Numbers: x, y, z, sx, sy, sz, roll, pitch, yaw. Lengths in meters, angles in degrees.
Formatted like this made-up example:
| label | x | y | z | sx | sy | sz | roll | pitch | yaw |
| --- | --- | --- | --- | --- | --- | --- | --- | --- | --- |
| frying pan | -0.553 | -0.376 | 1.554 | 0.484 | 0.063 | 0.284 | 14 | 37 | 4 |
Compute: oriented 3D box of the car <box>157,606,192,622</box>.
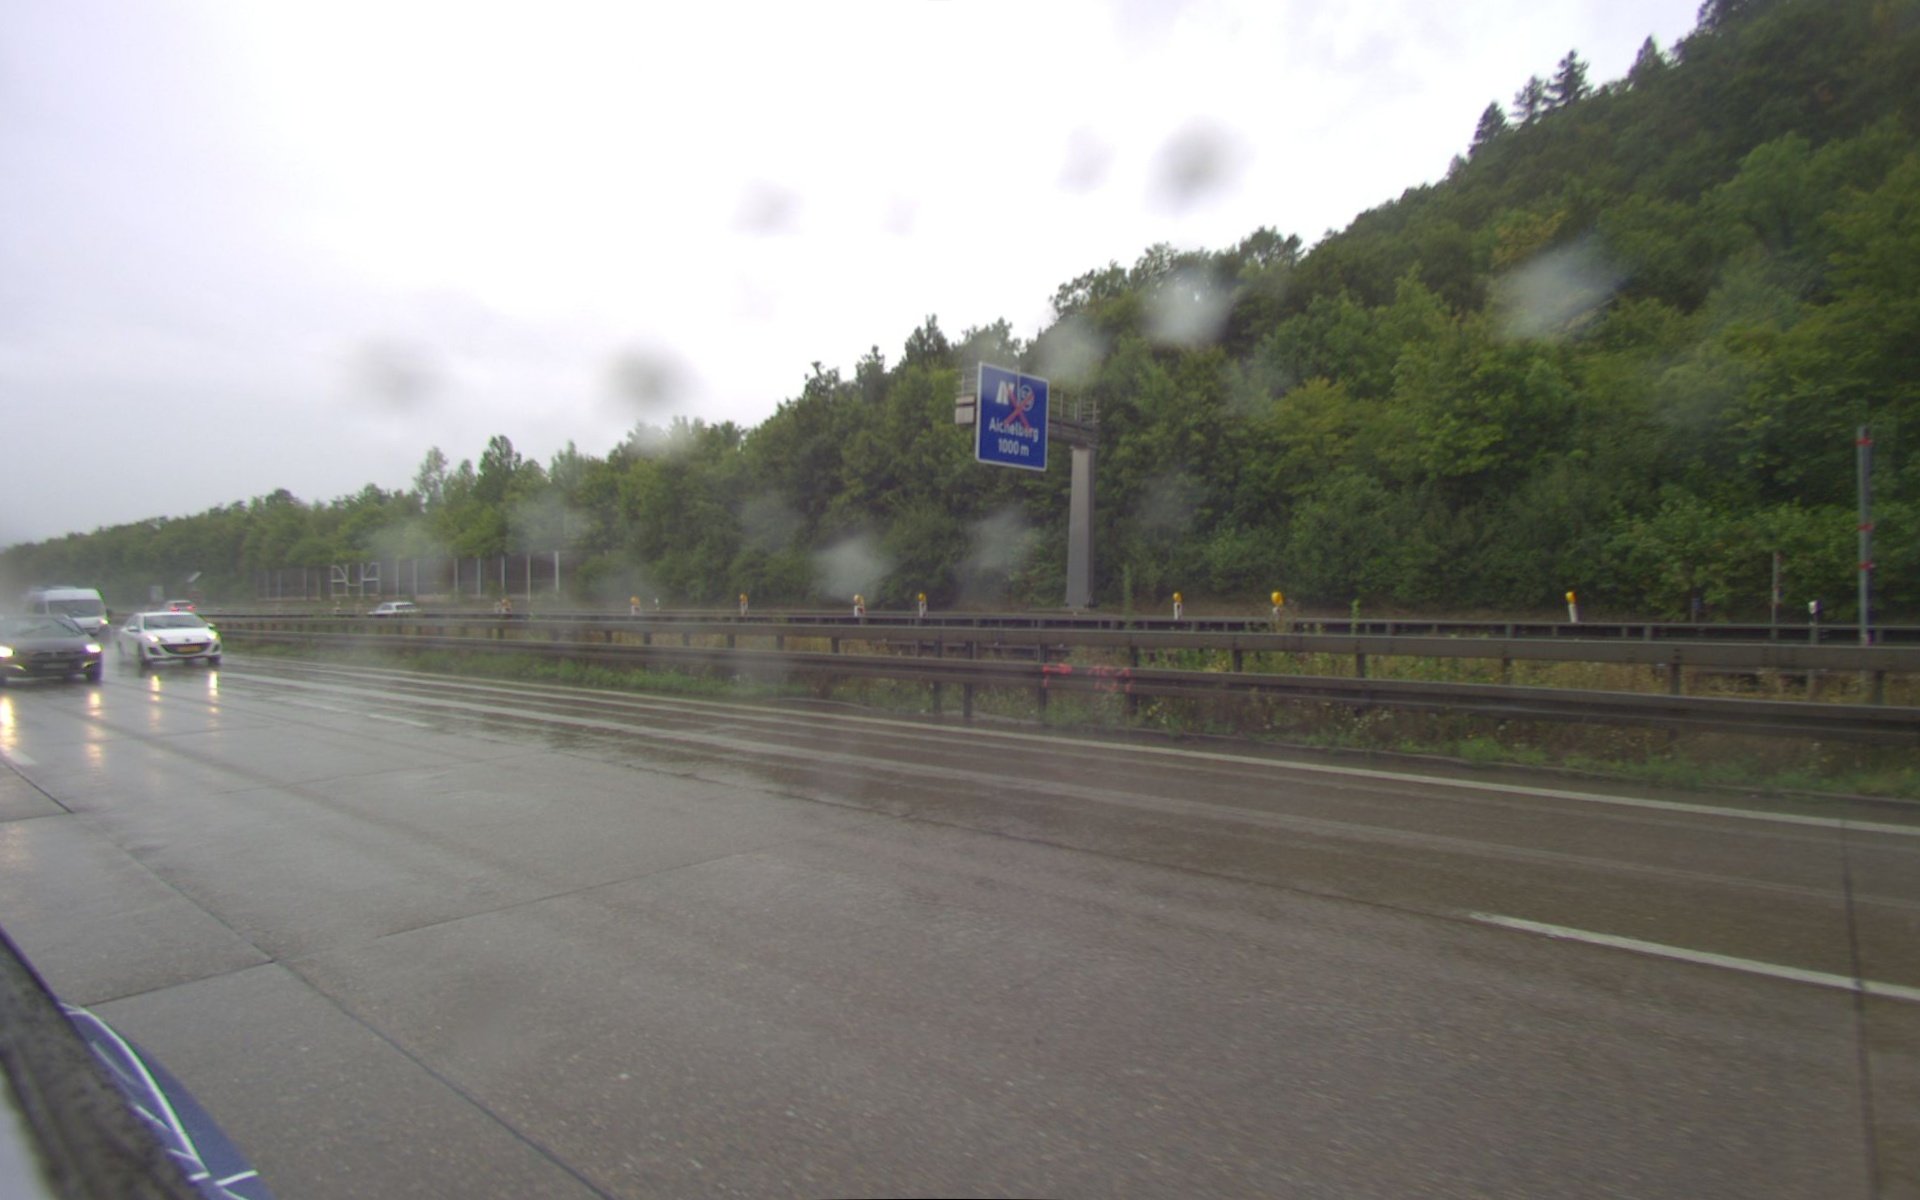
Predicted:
| label | x | y | z | sx | sy | sz | roll | pitch | yaw |
| --- | --- | --- | --- | --- | --- | --- | --- | --- | --- |
| car | -72.420 | 1.286 | 93.272 | 4.515 | 1.445 | 1.650 | -1 | 0 | 41 |

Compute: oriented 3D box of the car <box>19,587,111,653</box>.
| label | x | y | z | sx | sy | sz | roll | pitch | yaw |
| --- | --- | --- | --- | --- | --- | --- | --- | --- | --- |
| car | -38.553 | 0.842 | 43.527 | 6.398 | 2.651 | 2.020 | -1 | -1 | 40 |

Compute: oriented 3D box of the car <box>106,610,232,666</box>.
| label | x | y | z | sx | sy | sz | roll | pitch | yaw |
| --- | --- | --- | --- | --- | --- | --- | --- | --- | --- |
| car | -22.364 | 1.031 | 28.566 | 4.514 | 1.445 | 1.910 | -1 | -1 | 40 |

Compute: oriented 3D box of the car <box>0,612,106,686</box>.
| label | x | y | z | sx | sy | sz | roll | pitch | yaw |
| --- | --- | --- | --- | --- | --- | --- | --- | --- | --- |
| car | -20.456 | 1.013 | 22.238 | 4.515 | 1.445 | 1.909 | -1 | -1 | 41 |

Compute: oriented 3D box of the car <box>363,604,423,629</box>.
| label | x | y | z | sx | sy | sz | roll | pitch | yaw |
| --- | --- | --- | --- | --- | --- | --- | --- | --- | --- |
| car | -33.690 | 0.980 | 60.042 | 4.515 | 1.445 | 1.650 | -1 | 0 | 41 |
